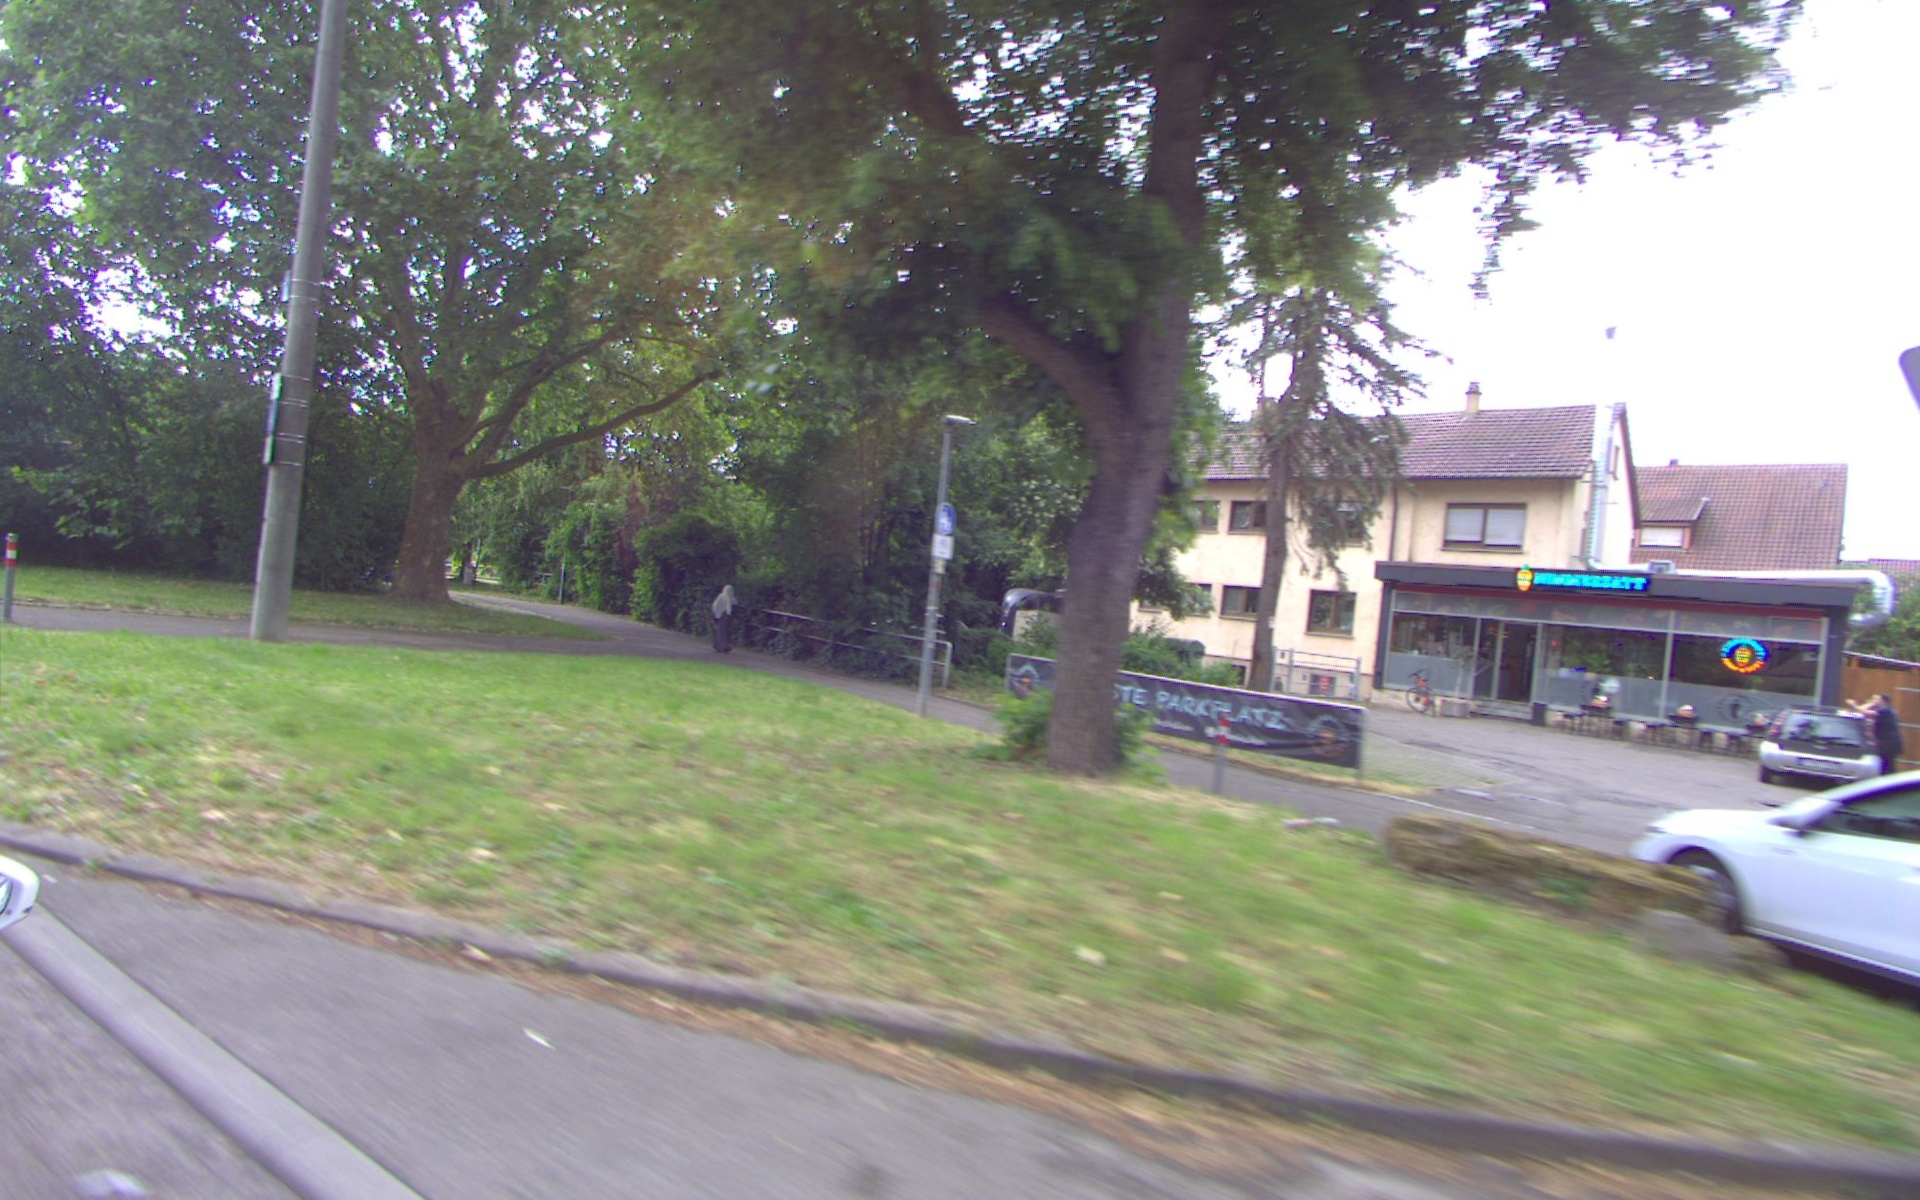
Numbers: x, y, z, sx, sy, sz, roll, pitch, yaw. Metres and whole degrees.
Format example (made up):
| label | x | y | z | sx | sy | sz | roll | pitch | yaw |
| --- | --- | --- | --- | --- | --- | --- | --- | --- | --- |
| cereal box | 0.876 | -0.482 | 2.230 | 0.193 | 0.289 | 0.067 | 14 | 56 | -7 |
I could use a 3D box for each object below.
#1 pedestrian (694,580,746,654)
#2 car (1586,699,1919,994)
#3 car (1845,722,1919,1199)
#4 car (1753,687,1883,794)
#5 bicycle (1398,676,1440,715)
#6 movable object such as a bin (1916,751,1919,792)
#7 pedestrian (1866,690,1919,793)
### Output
| label | x | y | z | sx | sy | sz | roll | pitch | yaw |
| --- | --- | --- | --- | --- | --- | --- | --- | --- | --- |
| pedestrian | -5.410 | 0.384 | 22.682 | 0.731 | 1.571 | 0.683 | 6 | 1 | 37 |
| car | 6.169 | 1.569 | 5.837 | 1.736 | 1.397 | 4.253 | 6 | -1 | -12 |
| car | 4.719 | 1.328 | 2.049 | 4.035 | 1.446 | 1.734 | 7 | 0 | 4 |
| car | 16.220 | 2.563 | 18.960 | 1.603 | 1.651 | 3.405 | 5 | 0 | 43 |
| bicycle | 12.324 | 2.550 | 27.068 | 0.405 | 0.887 | 1.966 | 6 | 0 | 8 |
| movable object such as a bin | 17.721 | 2.816 | 17.761 | 0.980 | 1.362 | 1.215 | 5 | 0 | 37 |
| pedestrian | 16.892 | 2.533 | 18.169 | 0.602 | 1.751 | 0.686 | 5 | 1 | 37 |
